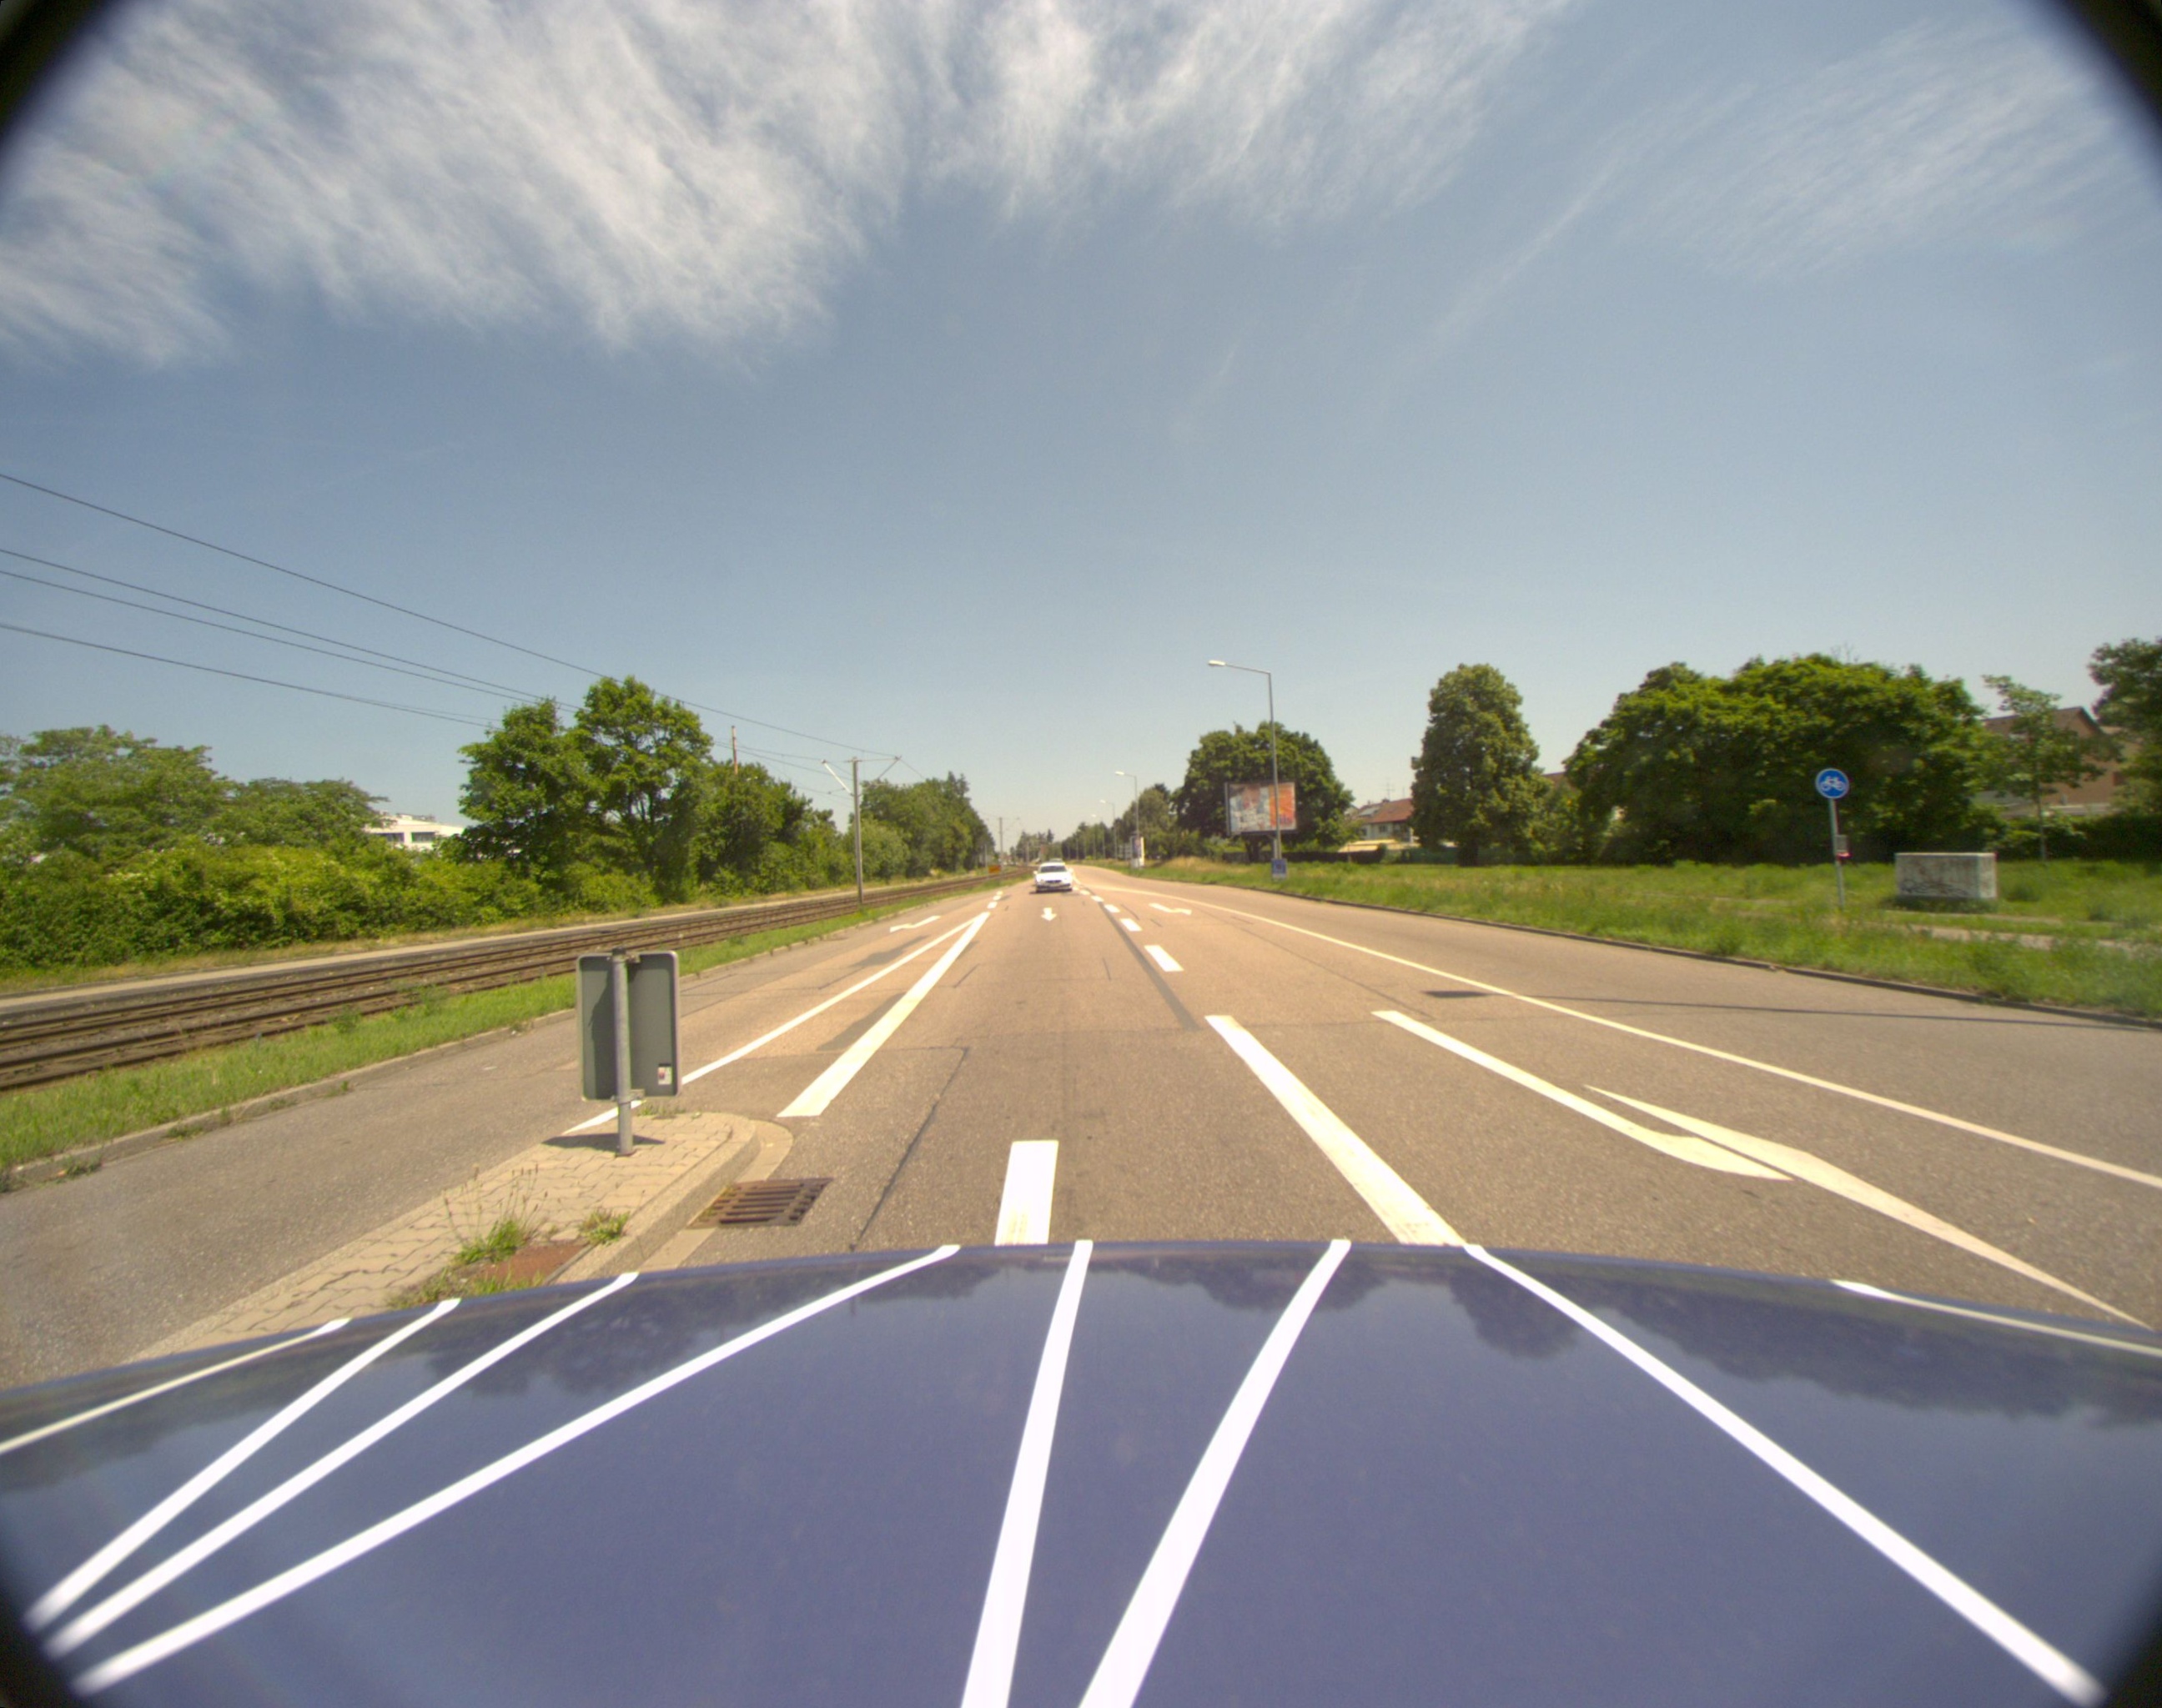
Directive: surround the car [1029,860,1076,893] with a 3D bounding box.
[{"bbox_3d":[-1.379,1.106,38.547,1.954,1.467,4.362,-3,0,2],"label":"car"}]
